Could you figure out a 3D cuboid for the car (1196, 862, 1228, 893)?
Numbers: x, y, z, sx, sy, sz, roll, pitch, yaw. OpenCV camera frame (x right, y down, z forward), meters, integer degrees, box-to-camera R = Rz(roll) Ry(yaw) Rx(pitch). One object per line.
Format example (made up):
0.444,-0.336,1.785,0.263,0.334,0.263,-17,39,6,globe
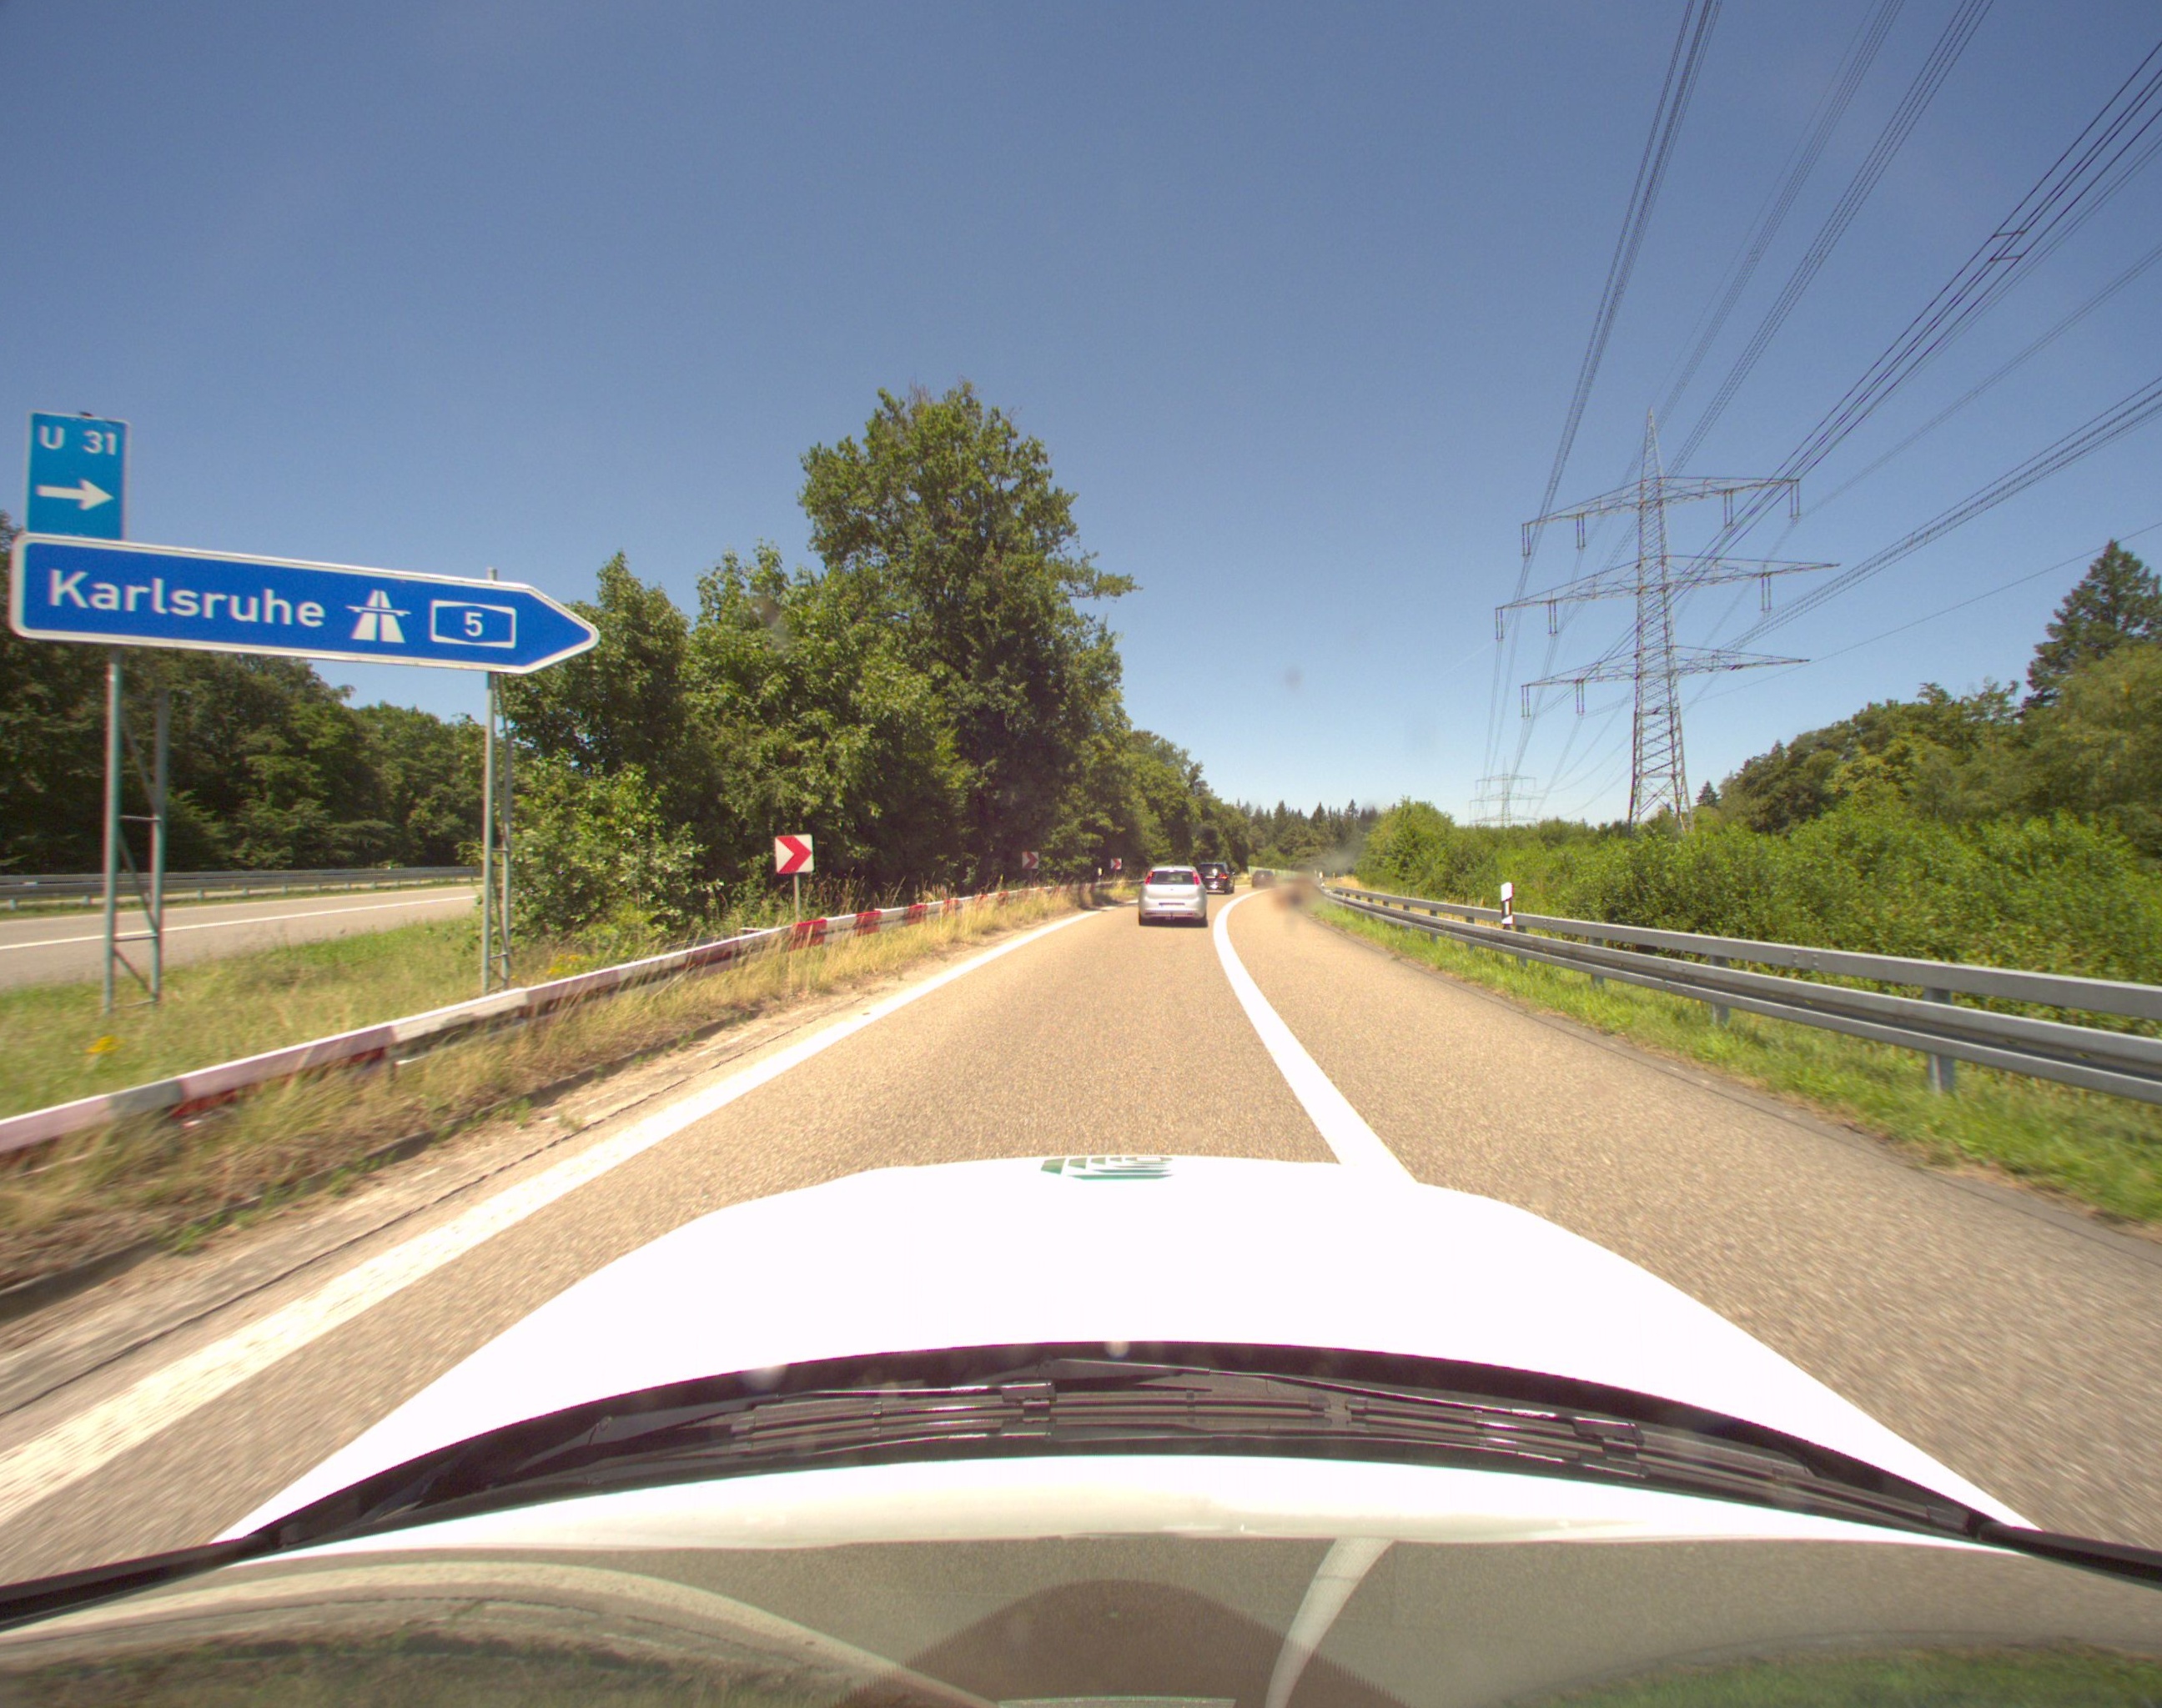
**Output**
7.367,1.286,45.615,1.630,1.654,3.584,1,-1,10,car

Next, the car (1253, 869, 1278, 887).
14.892,1.938,65.618,1.627,1.343,3.589,1,-1,17,car

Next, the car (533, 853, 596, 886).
-31.543,0.930,49.893,1.859,1.887,5.539,-1,0,-18,car

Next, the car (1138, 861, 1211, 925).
2.474,0.943,20.896,1.630,1.468,3.428,1,-1,10,car
